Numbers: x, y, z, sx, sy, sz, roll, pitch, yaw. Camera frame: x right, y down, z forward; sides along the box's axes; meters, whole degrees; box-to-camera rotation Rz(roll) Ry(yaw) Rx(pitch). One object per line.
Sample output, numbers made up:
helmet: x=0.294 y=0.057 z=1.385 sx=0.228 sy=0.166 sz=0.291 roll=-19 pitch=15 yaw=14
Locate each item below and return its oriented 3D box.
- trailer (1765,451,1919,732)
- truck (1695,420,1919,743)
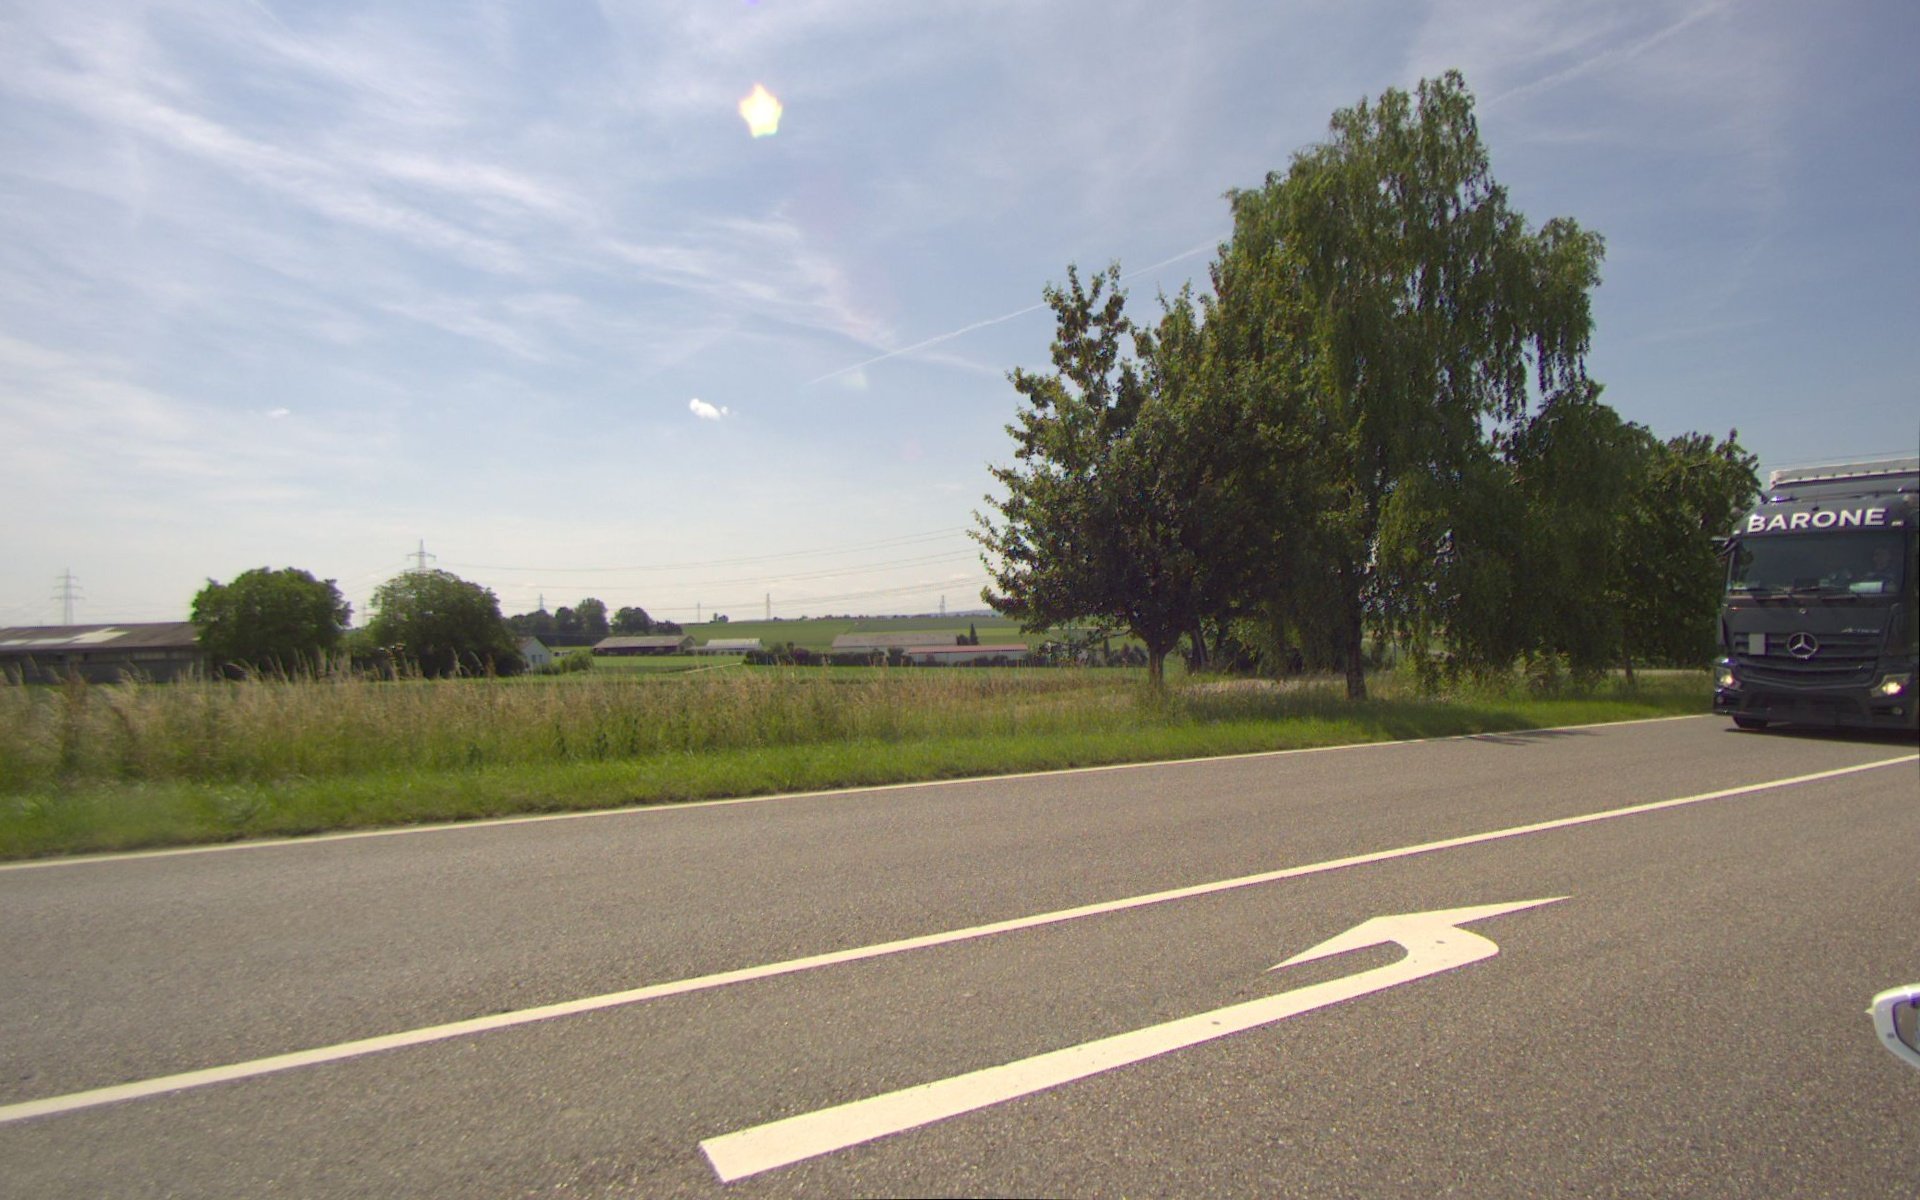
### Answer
trailer: x=19.620 y=0.026 z=19.355 sx=13.599 sy=4.197 sz=2.577 roll=1 pitch=-1 yaw=-34
truck: x=13.914 y=-0.164 z=15.450 sx=5.385 sy=4.158 sz=2.569 roll=1 pitch=-1 yaw=-34
